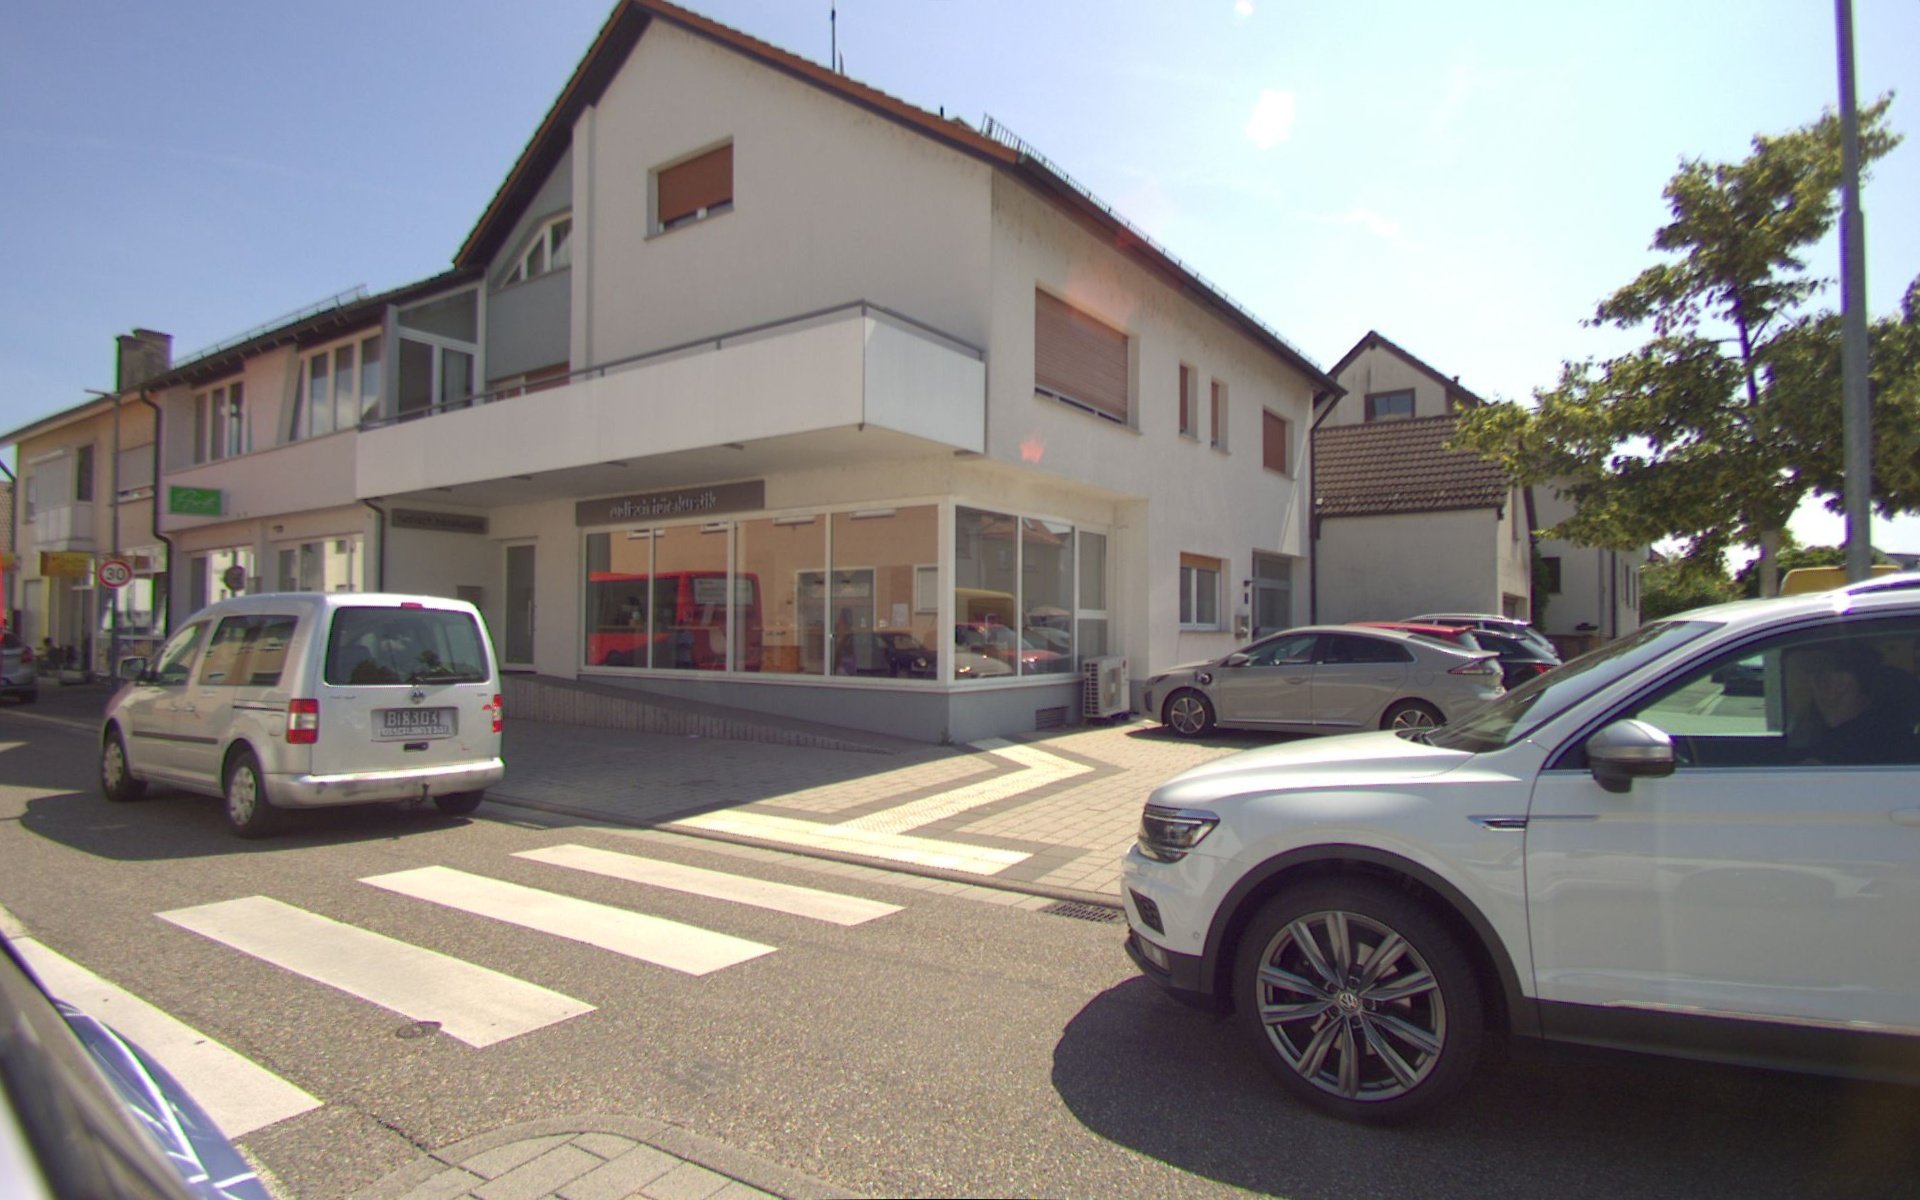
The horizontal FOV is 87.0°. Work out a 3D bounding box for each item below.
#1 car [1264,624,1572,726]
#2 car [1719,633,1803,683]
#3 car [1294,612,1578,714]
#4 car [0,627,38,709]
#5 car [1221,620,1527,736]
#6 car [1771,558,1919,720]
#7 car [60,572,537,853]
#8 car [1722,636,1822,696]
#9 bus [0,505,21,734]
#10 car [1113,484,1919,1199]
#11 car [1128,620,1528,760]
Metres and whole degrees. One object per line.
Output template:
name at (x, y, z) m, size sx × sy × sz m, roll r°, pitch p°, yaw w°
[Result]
car at (7.560, 1.153, 16.887) m, size 4.467 × 1.462 × 1.815 m, roll 0°, pitch -2°, yaw 34°
car at (23.578, 1.653, 29.746) m, size 1.785 × 1.253 × 3.920 m, roll -1°, pitch -1°, yaw 40°
car at (9.107, 1.118, 19.519) m, size 4.737 × 1.753 × 1.964 m, roll 0°, pitch -2°, yaw 34°
car at (-20.216, 1.365, 20.183) m, size 3.988 × 1.527 × 1.730 m, roll -1°, pitch 2°, yaw 33°
car at (6.081, 1.052, 15.000) m, size 3.953 × 1.488 × 1.733 m, roll 0°, pitch -2°, yaw 34°
car at (16.554, 0.734, 18.907) m, size 2.110 × 2.592 × 5.610 m, roll -2°, pitch -3°, yaw 39°
car at (-5.730, 0.816, 8.610) m, size 4.429 × 1.835 × 1.757 m, roll -1°, pitch -4°, yaw 34°
car at (20.025, 1.562, 24.917) m, size 1.785 × 1.253 × 3.920 m, roll -1°, pitch -1°, yaw 40°
bus at (-19.445, 0.284, 16.329) m, size 11.971 × 3.257 × 2.609 m, roll -1°, pitch -4°, yaw 29°
car at (2.920, 0.651, 3.140) m, size 4.516 × 1.723 × 1.856 m, roll -1°, pitch -5°, yaw 25°
car at (4.558, 1.005, 12.801) m, size 4.467 × 1.462 × 1.815 m, roll 0°, pitch -2°, yaw 34°
